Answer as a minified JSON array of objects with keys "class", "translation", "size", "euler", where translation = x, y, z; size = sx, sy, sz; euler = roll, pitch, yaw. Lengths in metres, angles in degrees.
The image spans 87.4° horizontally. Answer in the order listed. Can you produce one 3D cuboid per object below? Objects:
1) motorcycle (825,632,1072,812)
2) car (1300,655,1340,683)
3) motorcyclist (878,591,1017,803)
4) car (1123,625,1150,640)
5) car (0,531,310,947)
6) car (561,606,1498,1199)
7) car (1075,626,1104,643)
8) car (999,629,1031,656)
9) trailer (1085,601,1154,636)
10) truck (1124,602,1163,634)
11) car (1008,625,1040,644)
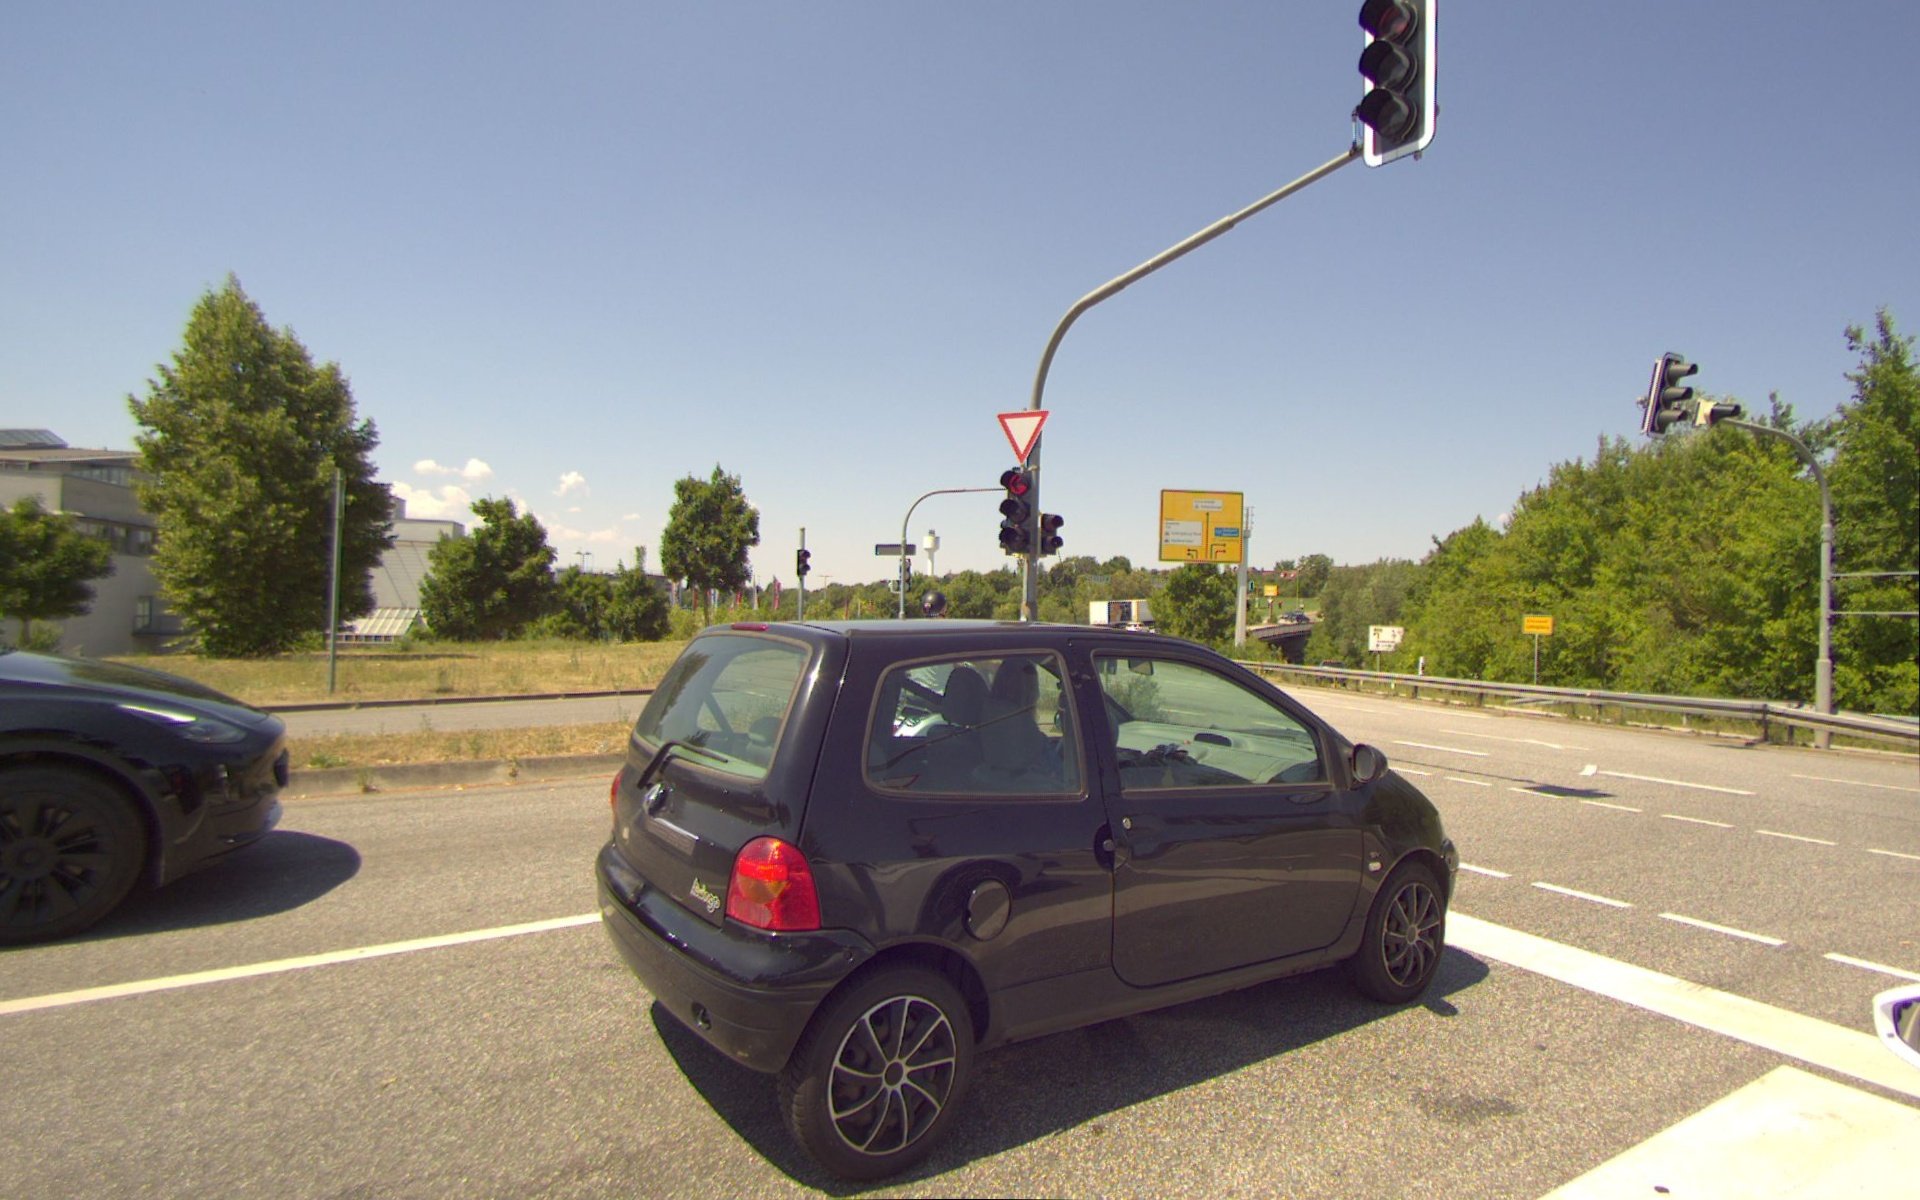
[{"class":"motorcycle","translation":[-0.053,0.918,7.927],"size":[1.921,1.255,0.572],"euler":[3,-1,-35]},{"class":"car","translation":[21.902,4.184,61.185],"size":[1.775,1.452,4.417],"euler":[4,-2,14]},{"class":"motorcyclist","translation":[-0.100,0.731,7.904],"size":[0.838,1.560,0.607],"euler":[3,0,-34]},{"class":"car","translation":[21.147,3.867,120.141],"size":[1.900,1.687,3.991],"euler":[1,0,31]},{"class":"car","translation":[-5.270,0.500,3.951],"size":[4.462,1.622,1.862],"euler":[2,0,-36]},{"class":"car","translation":[0.387,0.783,3.830],"size":[3.267,1.426,1.609],"euler":[2,-1,-34]},{"class":"car","translation":[13.881,3.678,107.469],"size":[1.848,1.644,3.994],"euler":[1,0,28]},{"class":"car","translation":[3.394,2.627,62.520],"size":[1.776,1.452,3.930],"euler":[4,-2,1]},{"class":"trailer","translation":[21.373,2.373,133.033],"size":[3.186,4.305,15.368],"euler":[1,0,32]},{"class":"truck","translation":[25.459,2.450,139.478],"size":[3.186,4.305,6.221],"euler":[1,1,32]},{"class":"car","translation":[6.081,3.309,95.453],"size":[1.848,1.755,4.000],"euler":[1,-2,21]}]
